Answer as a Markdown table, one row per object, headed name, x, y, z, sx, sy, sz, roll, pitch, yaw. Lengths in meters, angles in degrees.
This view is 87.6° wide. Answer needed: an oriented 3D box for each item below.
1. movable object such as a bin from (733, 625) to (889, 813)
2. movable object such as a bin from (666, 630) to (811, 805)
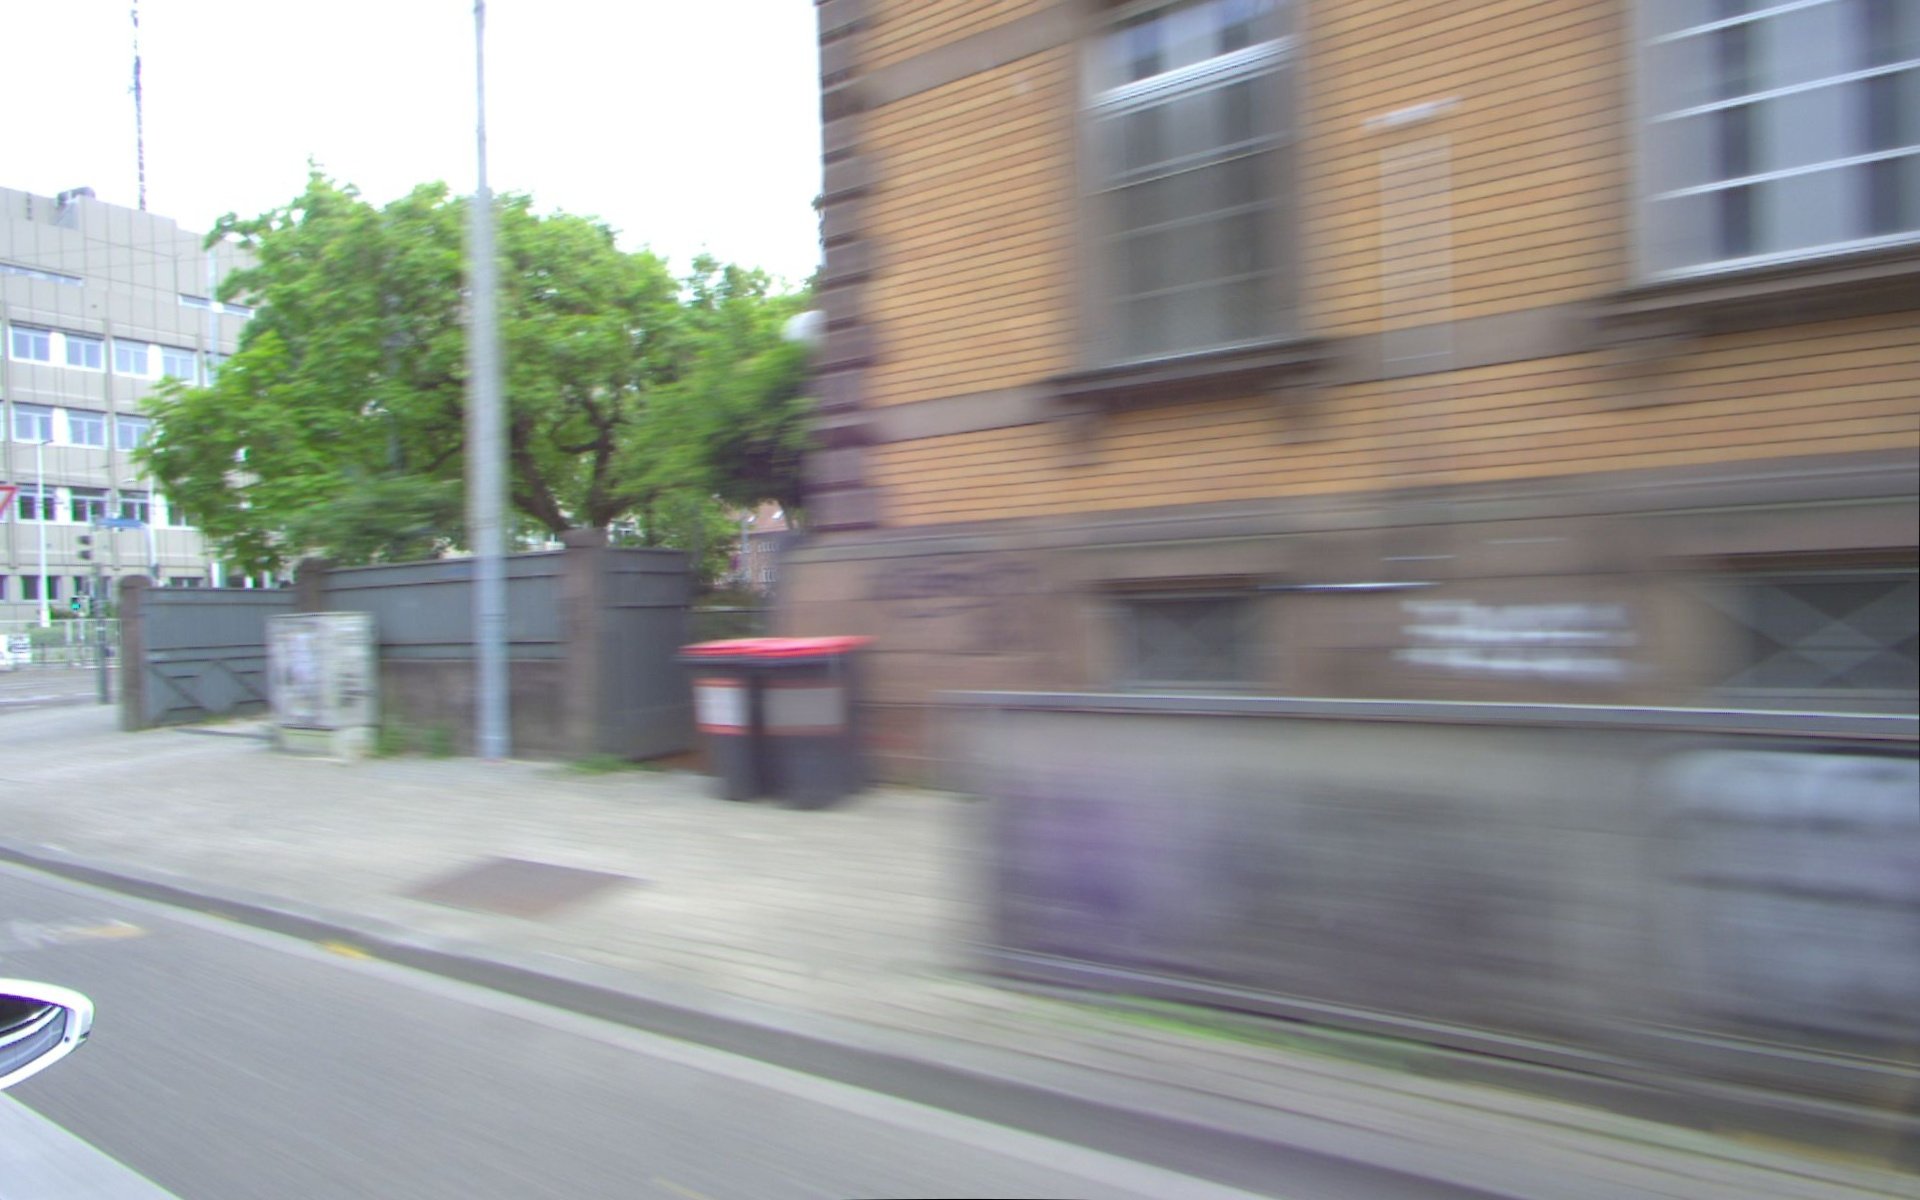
| name | x | y | z | sx | sy | sz | roll | pitch | yaw |
| --- | --- | --- | --- | --- | --- | --- | --- | --- | --- |
| movable object such as a bin | -0.968 | 0.750 | 6.569 | 0.690 | 1.097 | 0.662 | -2 | 3 | 28 |
| movable object such as a bin | -1.540 | 0.796 | 7.013 | 0.667 | 1.097 | 0.649 | -2 | 3 | 28 |
